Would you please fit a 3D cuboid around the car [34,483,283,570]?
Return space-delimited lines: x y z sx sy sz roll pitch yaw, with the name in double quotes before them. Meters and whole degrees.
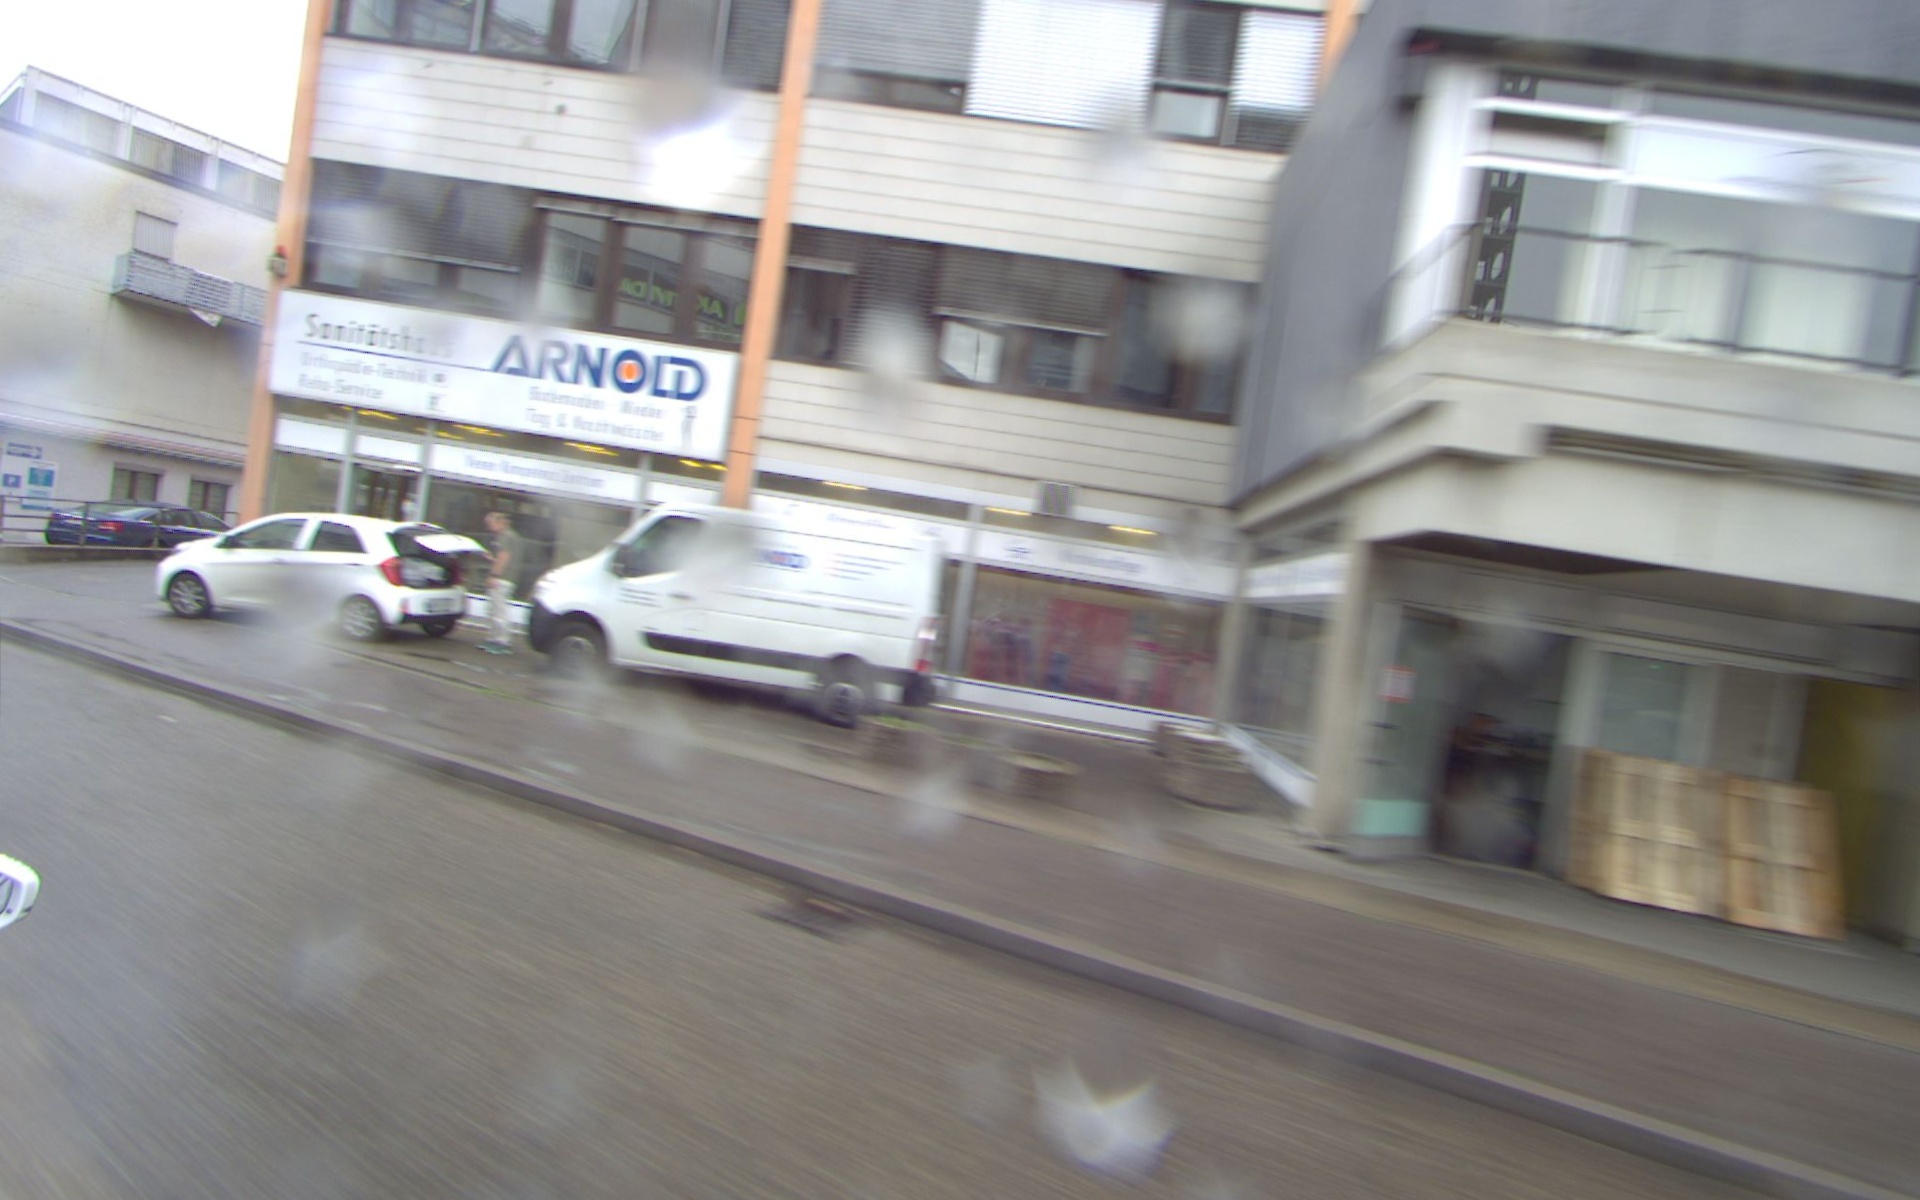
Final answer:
"car" -17.642 -1.554 22.458 1.704 1.429 4.399 8 1 4

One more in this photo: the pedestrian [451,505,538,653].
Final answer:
"pedestrian" -5.967 -0.255 12.895 0.590 1.789 0.593 9 2 29

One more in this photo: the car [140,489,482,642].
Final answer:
"car" -8.299 -0.422 13.011 3.358 1.480 1.617 7 0 7

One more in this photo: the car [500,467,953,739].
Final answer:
"car" -2.646 0.006 12.291 4.787 2.237 2.005 10 3 0
